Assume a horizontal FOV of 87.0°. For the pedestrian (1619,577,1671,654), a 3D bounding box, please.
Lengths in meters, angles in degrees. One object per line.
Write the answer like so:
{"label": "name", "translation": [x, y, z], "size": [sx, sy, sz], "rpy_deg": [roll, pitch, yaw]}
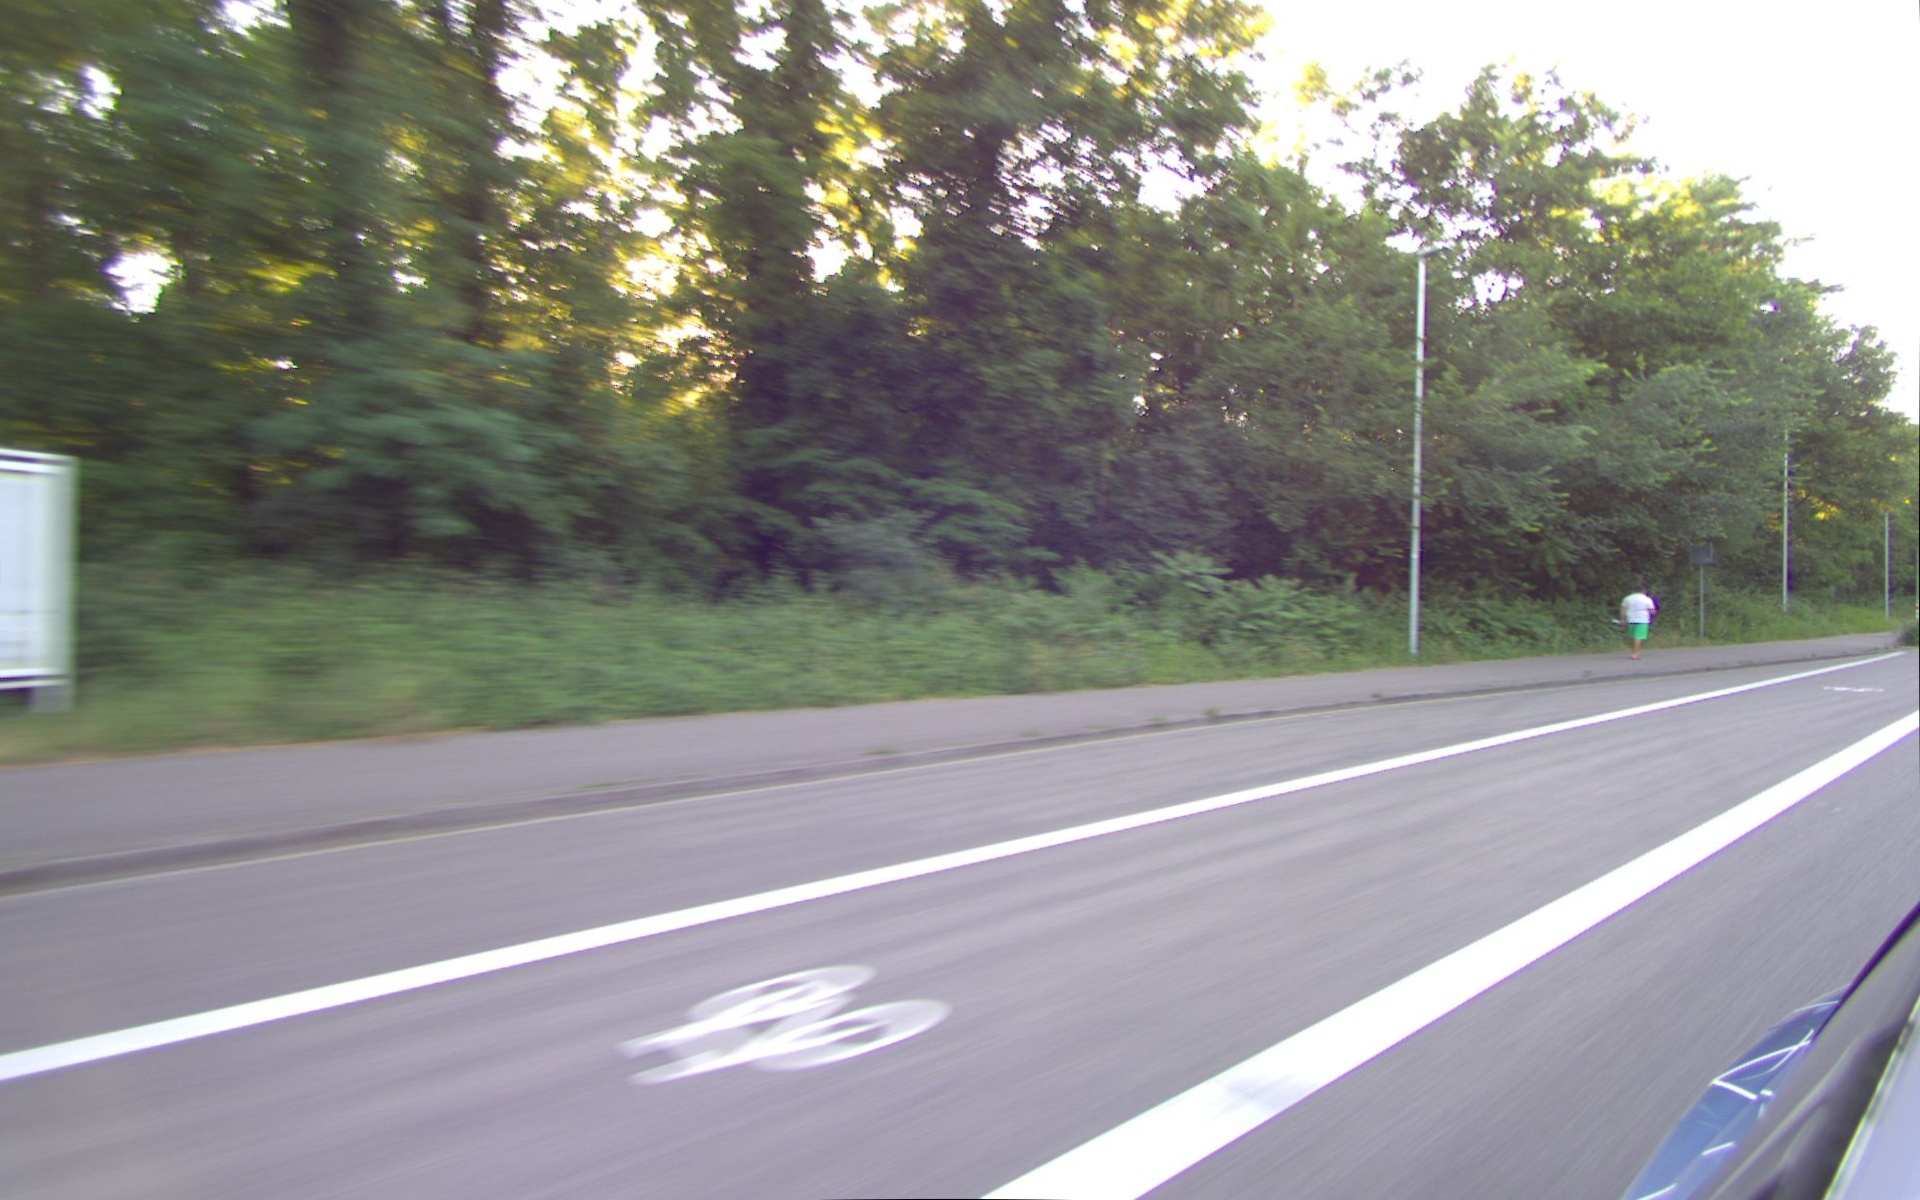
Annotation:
{"label": "pedestrian", "translation": [16.146, 0.345, 23.847], "size": [0.713, 1.773, 0.840], "rpy_deg": [0, 1, -39]}
